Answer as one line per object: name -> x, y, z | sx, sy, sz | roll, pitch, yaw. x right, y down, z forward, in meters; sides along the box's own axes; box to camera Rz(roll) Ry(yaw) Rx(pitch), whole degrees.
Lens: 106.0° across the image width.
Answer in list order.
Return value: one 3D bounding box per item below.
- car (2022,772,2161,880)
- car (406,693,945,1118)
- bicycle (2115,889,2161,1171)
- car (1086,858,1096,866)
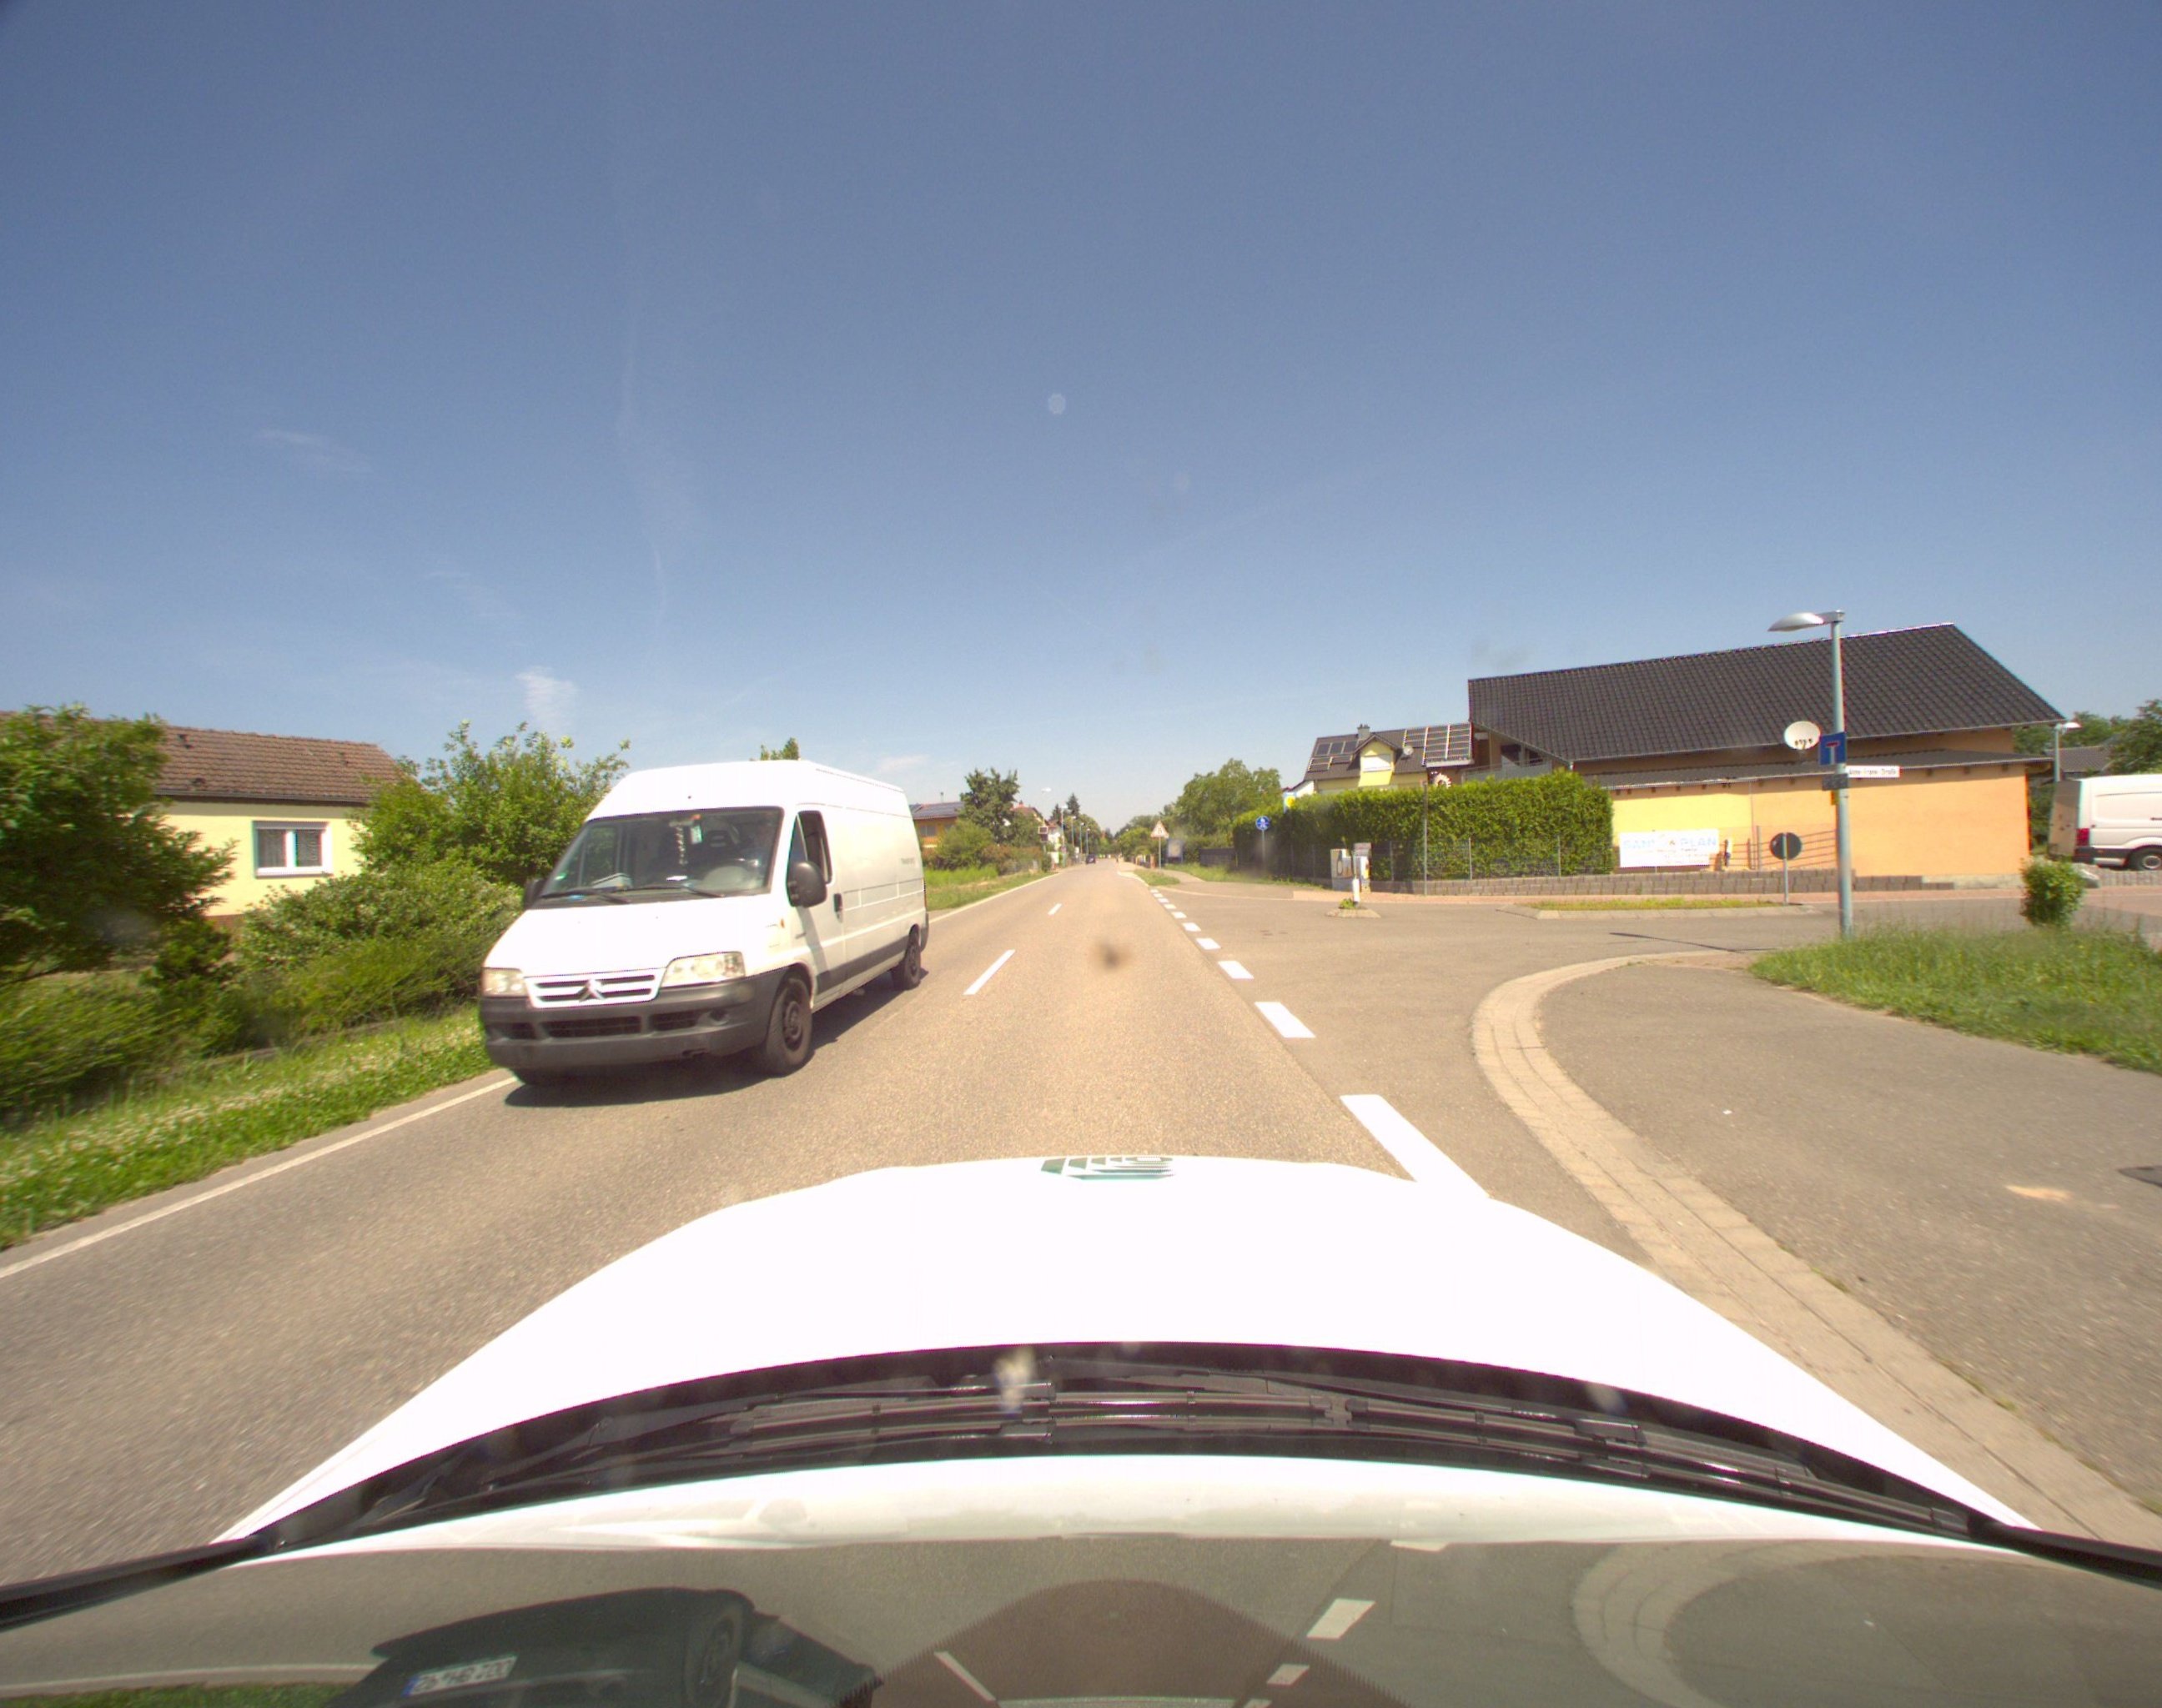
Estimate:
car -> 28.527, -0.813, 19.913 | 6.783, 2.627, 2.477 | -2, 2, 35
car -> -3.031, 0.308, 8.021 | 2.069, 2.542, 5.875 | -3, 0, 2
bicycle -> 4.734, 0.723, 2.351 | 0.608, 1.159, 2.275 | -2, 0, 2
car -> 1.850, 1.412, 153.883 | 1.752, 1.385, 3.454 | -3, 0, 2
